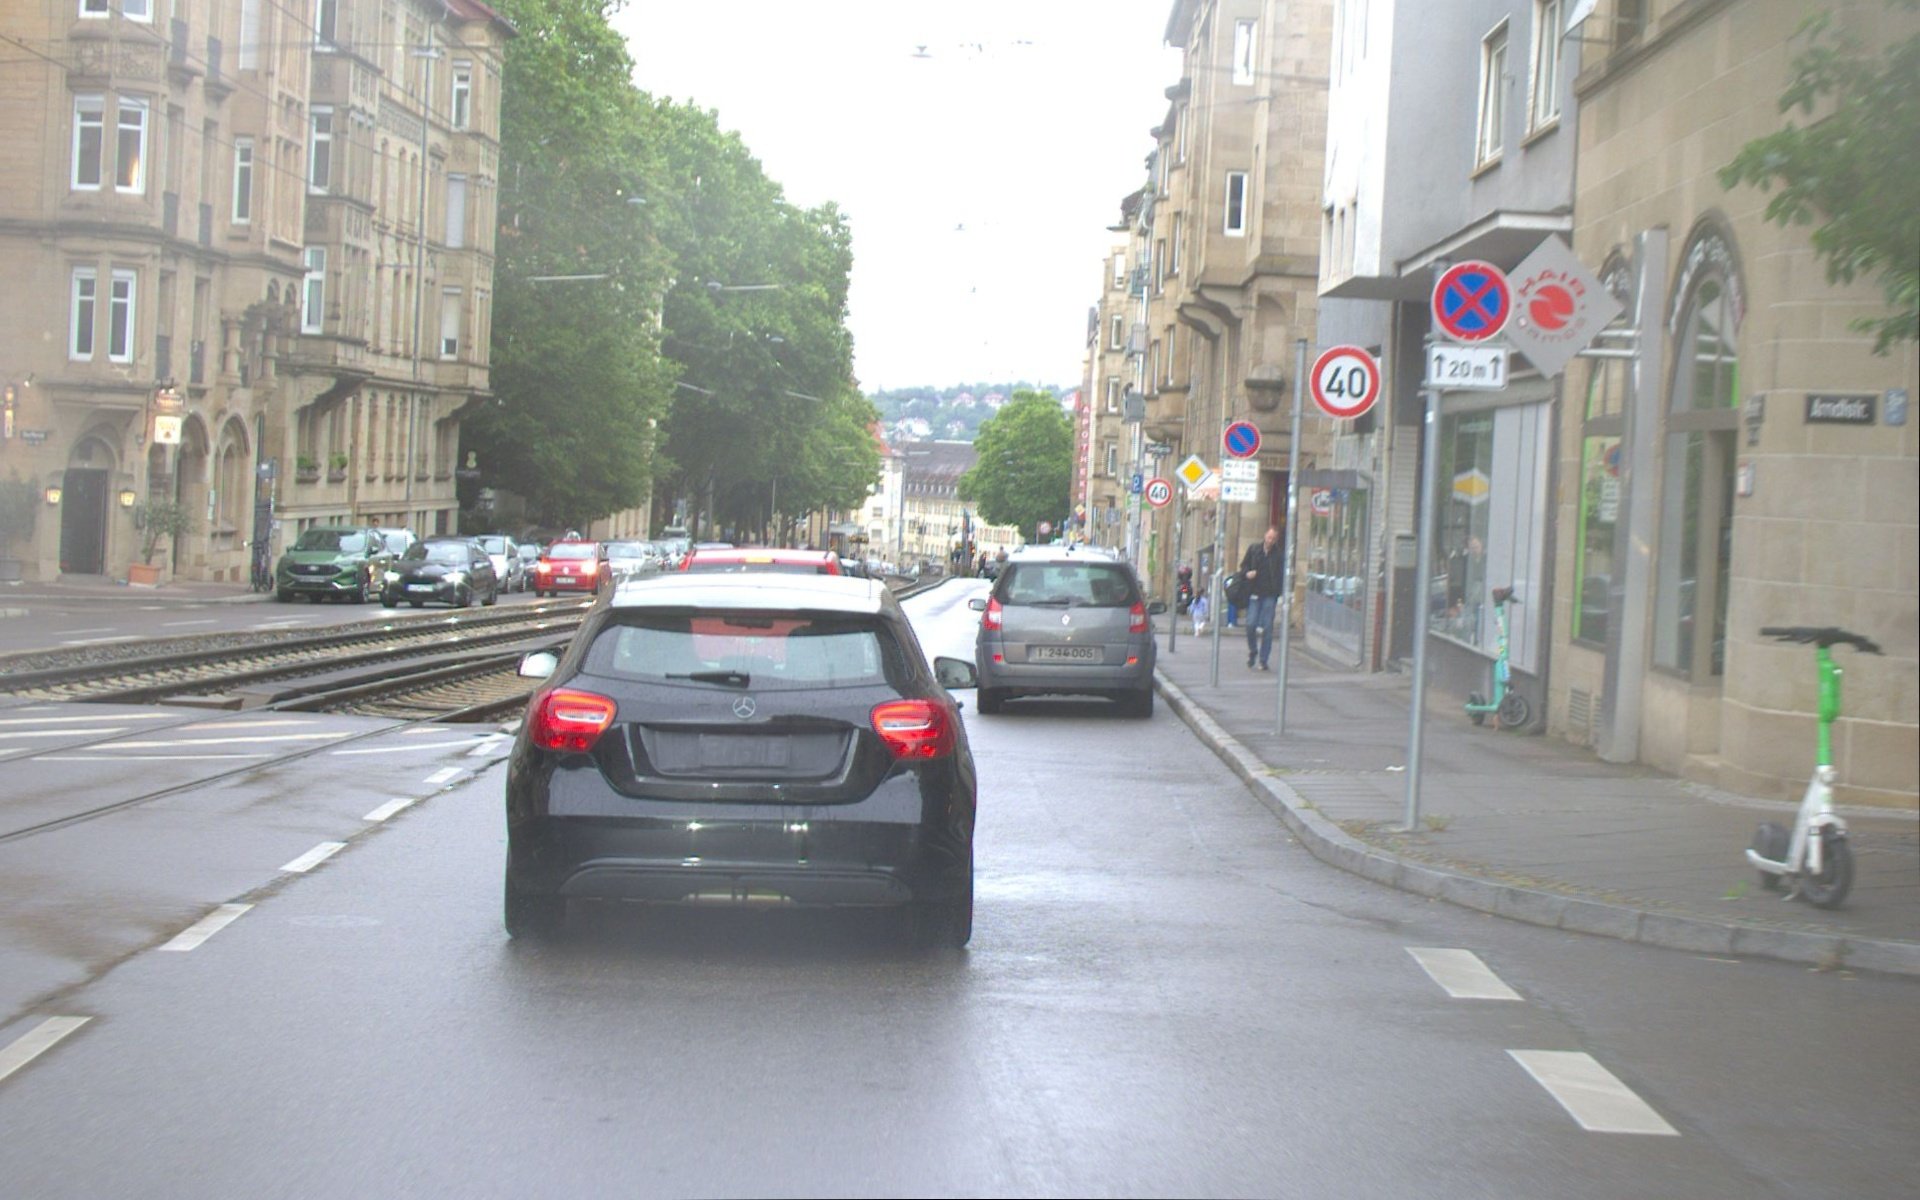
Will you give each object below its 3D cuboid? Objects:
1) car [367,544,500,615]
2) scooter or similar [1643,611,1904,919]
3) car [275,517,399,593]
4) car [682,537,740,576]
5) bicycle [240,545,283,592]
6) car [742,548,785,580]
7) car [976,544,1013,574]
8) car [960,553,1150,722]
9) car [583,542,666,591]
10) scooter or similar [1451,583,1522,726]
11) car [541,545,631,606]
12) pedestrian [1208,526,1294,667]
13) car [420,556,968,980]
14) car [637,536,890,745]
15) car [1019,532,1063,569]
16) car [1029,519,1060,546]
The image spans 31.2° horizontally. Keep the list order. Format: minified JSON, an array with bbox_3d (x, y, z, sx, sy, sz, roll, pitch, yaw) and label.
[{"bbox_3d":[-10.760,-0.437,70.523,1.948,1.392,4.274,1,1,2],"label":"car"},{"bbox_3d":[3.445,0.671,14.687,0.638,1.206,1.553,2,1,-3],"label":"scooter or similar"},{"bbox_3d":[-13.282,-0.968,73.512,1.722,1.536,3.933,2,1,3],"label":"car"},{"bbox_3d":[-9.291,-1.629,128.572,1.695,1.384,3.481,2,1,3],"label":"car"},{"bbox_3d":[-15.174,-0.696,74.707,0.598,0.997,2.080,2,1,-3],"label":"bicycle"},{"bbox_3d":[-8.974,-1.671,157.375,1.569,1.408,3.481,2,1,3],"label":"car"},{"bbox_3d":[1.582,-1.894,157.085,1.613,1.313,4.000,2,1,1],"label":"car"},{"bbox_3d":[0.959,0.329,35.195,1.765,1.553,4.745,2,1,1],"label":"car"},{"bbox_3d":[-9.820,-0.998,100.920,1.806,1.356,4.763,2,1,2],"label":"car"},{"bbox_3d":[4.620,0.468,30.210,0.395,1.212,1.107,2,1,-1],"label":"scooter or similar"},{"bbox_3d":[-9.643,-0.642,88.853,1.681,1.492,3.518,2,1,4],"label":"car"},{"bbox_3d":[3.734,-0.054,44.252,0.945,1.763,1.015,2,1,-1],"label":"pedestrian"},{"bbox_3d":[-0.947,0.575,14.278,1.866,1.447,4.000,2,1,1],"label":"car"},{"bbox_3d":[-1.476,0.264,27.116,1.649,1.447,4.000,3,1,1],"label":"car"},{"bbox_3d":[3.052,-1.868,129.867,1.613,1.313,4.000,2,1,1],"label":"car"},{"bbox_3d":[4.574,-3.644,186.823,1.613,1.313,4.000,4,1,1],"label":"car"}]
